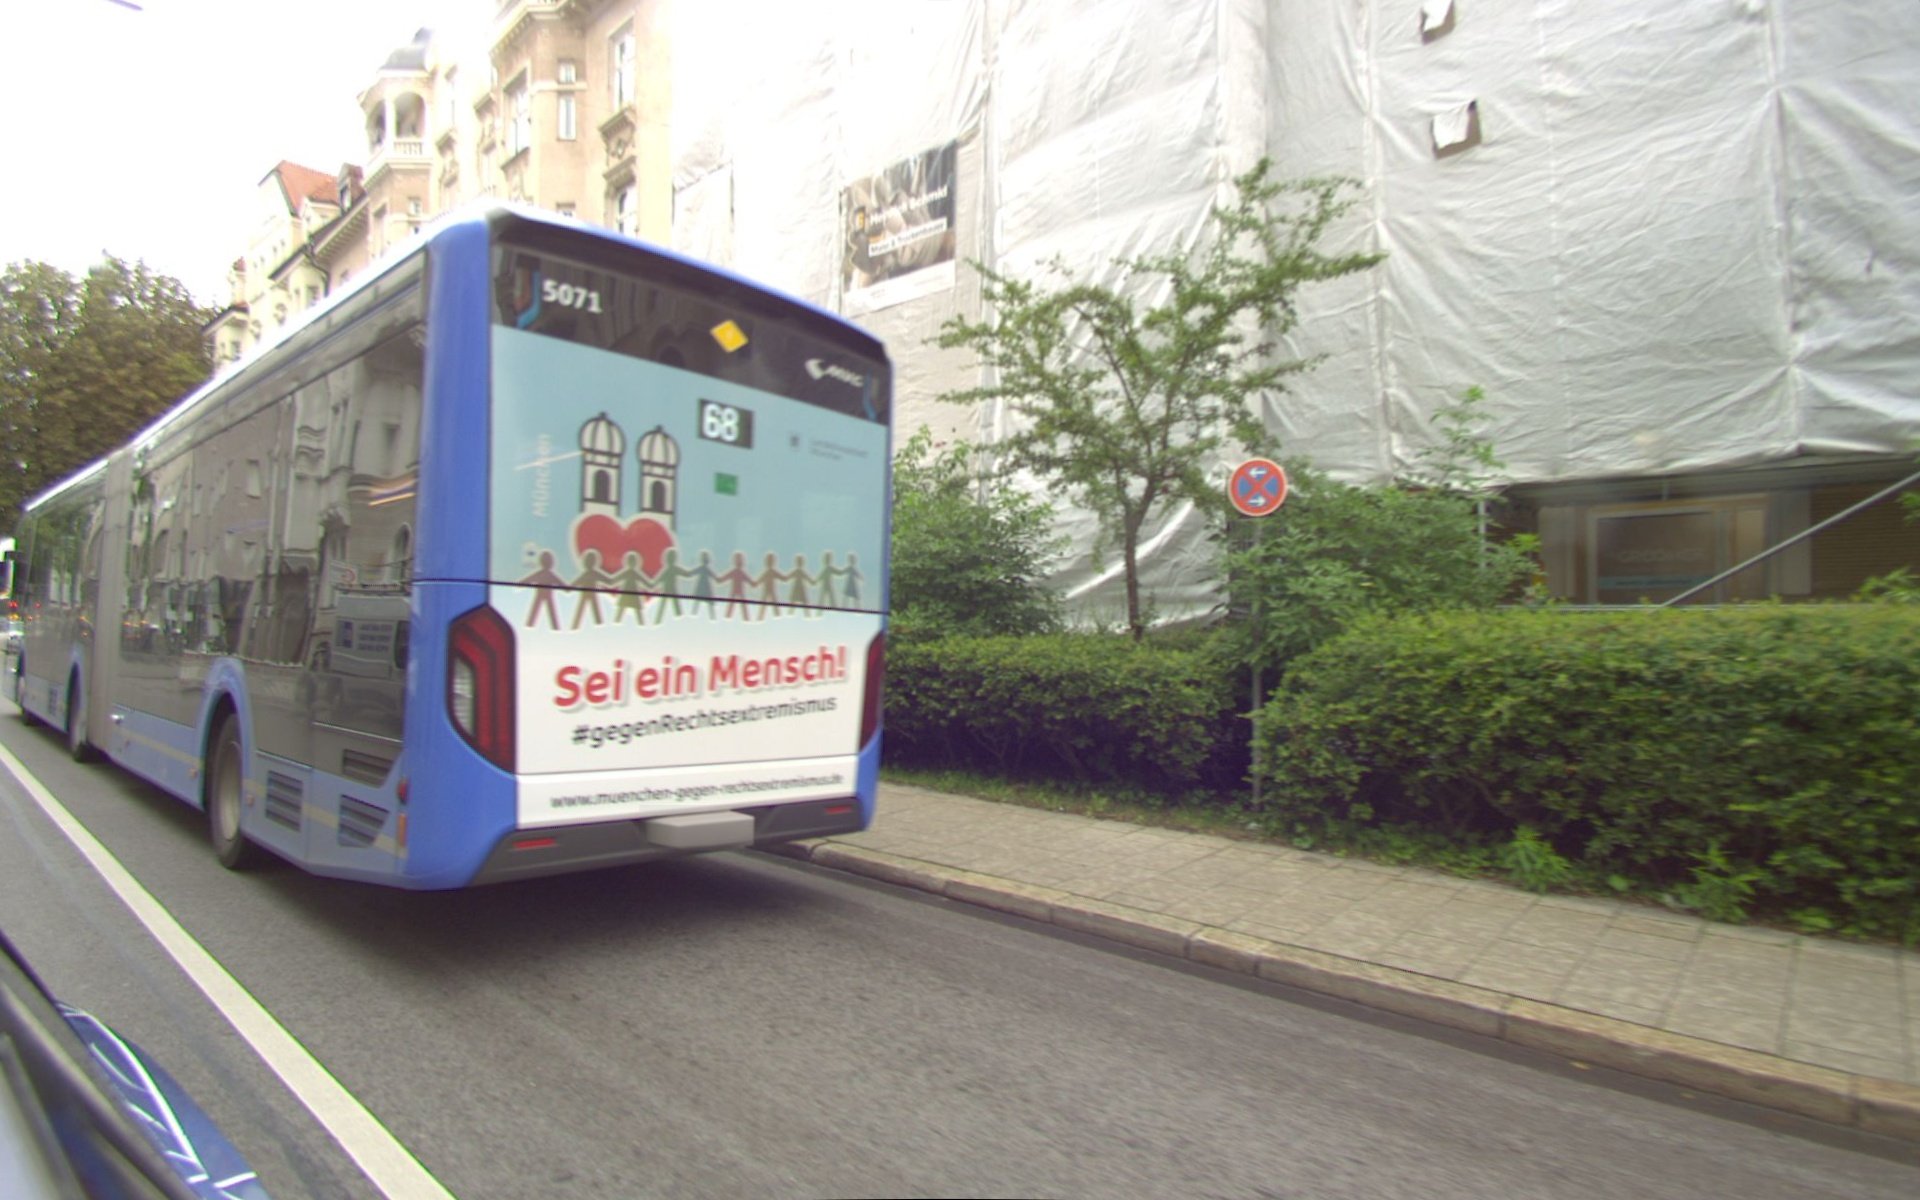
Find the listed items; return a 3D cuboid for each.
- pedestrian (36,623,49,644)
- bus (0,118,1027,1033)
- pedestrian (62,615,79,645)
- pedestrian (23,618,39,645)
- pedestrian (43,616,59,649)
[{"bbox_3d":[-56.137,2.036,61.914,0.577,1.253,0.539,-1,-2,43],"label":"pedestrian"},{"bbox_3d":[-7.348,0.075,10.819,18.054,3.236,3.137,-1,-3,42],"label":"bus"},{"bbox_3d":[-49.166,1.670,55.952,0.662,1.633,0.617,-1,-2,43],"label":"pedestrian"},{"bbox_3d":[-56.744,1.911,61.829,0.662,1.601,0.617,-1,-2,43],"label":"pedestrian"},{"bbox_3d":[-53.897,1.911,60.028,0.662,1.971,0.617,-1,-2,43],"label":"pedestrian"}]
